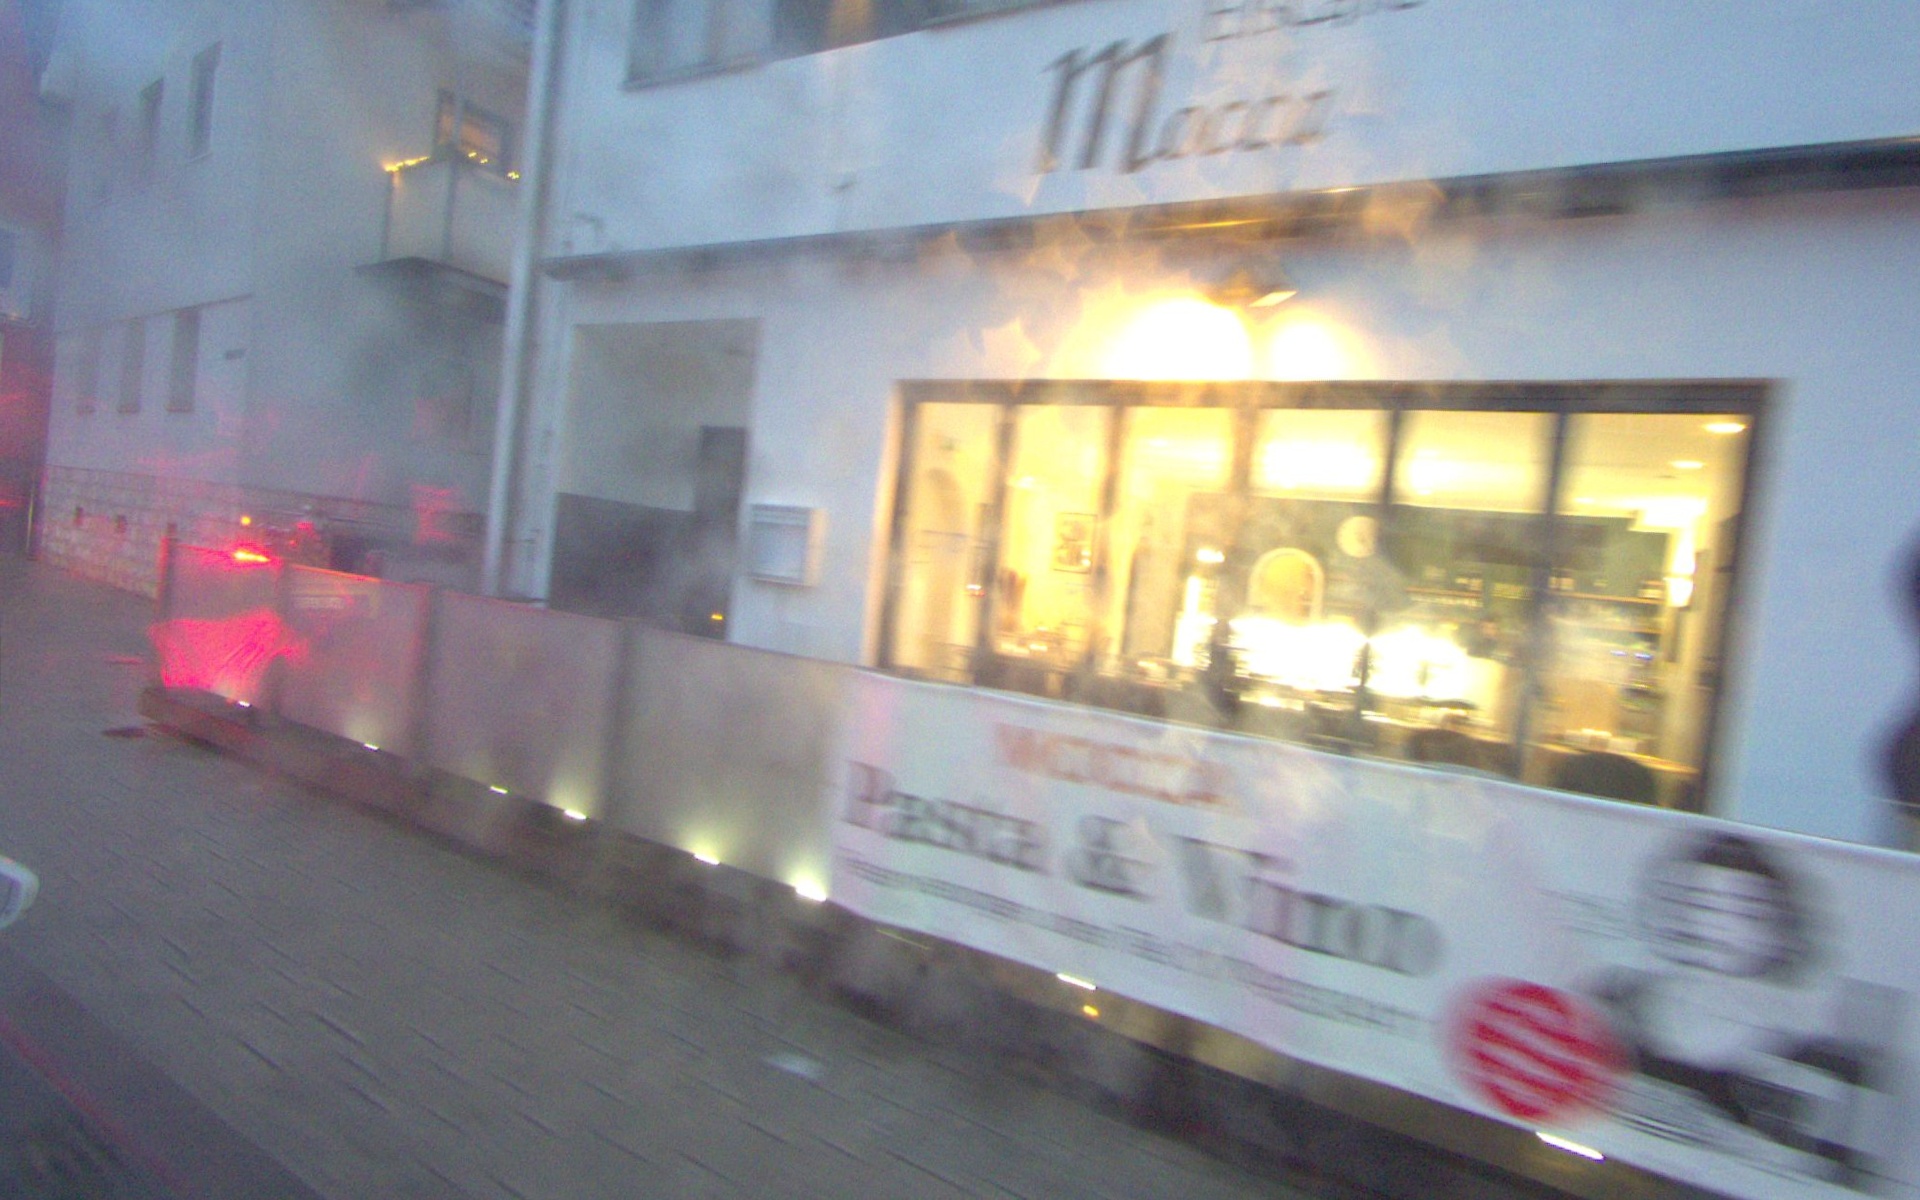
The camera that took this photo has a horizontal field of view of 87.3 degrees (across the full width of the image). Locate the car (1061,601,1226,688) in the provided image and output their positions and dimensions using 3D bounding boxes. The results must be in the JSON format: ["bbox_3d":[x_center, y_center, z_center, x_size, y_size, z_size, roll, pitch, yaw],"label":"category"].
[{"bbox_3d":[4.056,0.946,21.783,1.906,1.434,3.948,10,4,35],"label":"car"}]
